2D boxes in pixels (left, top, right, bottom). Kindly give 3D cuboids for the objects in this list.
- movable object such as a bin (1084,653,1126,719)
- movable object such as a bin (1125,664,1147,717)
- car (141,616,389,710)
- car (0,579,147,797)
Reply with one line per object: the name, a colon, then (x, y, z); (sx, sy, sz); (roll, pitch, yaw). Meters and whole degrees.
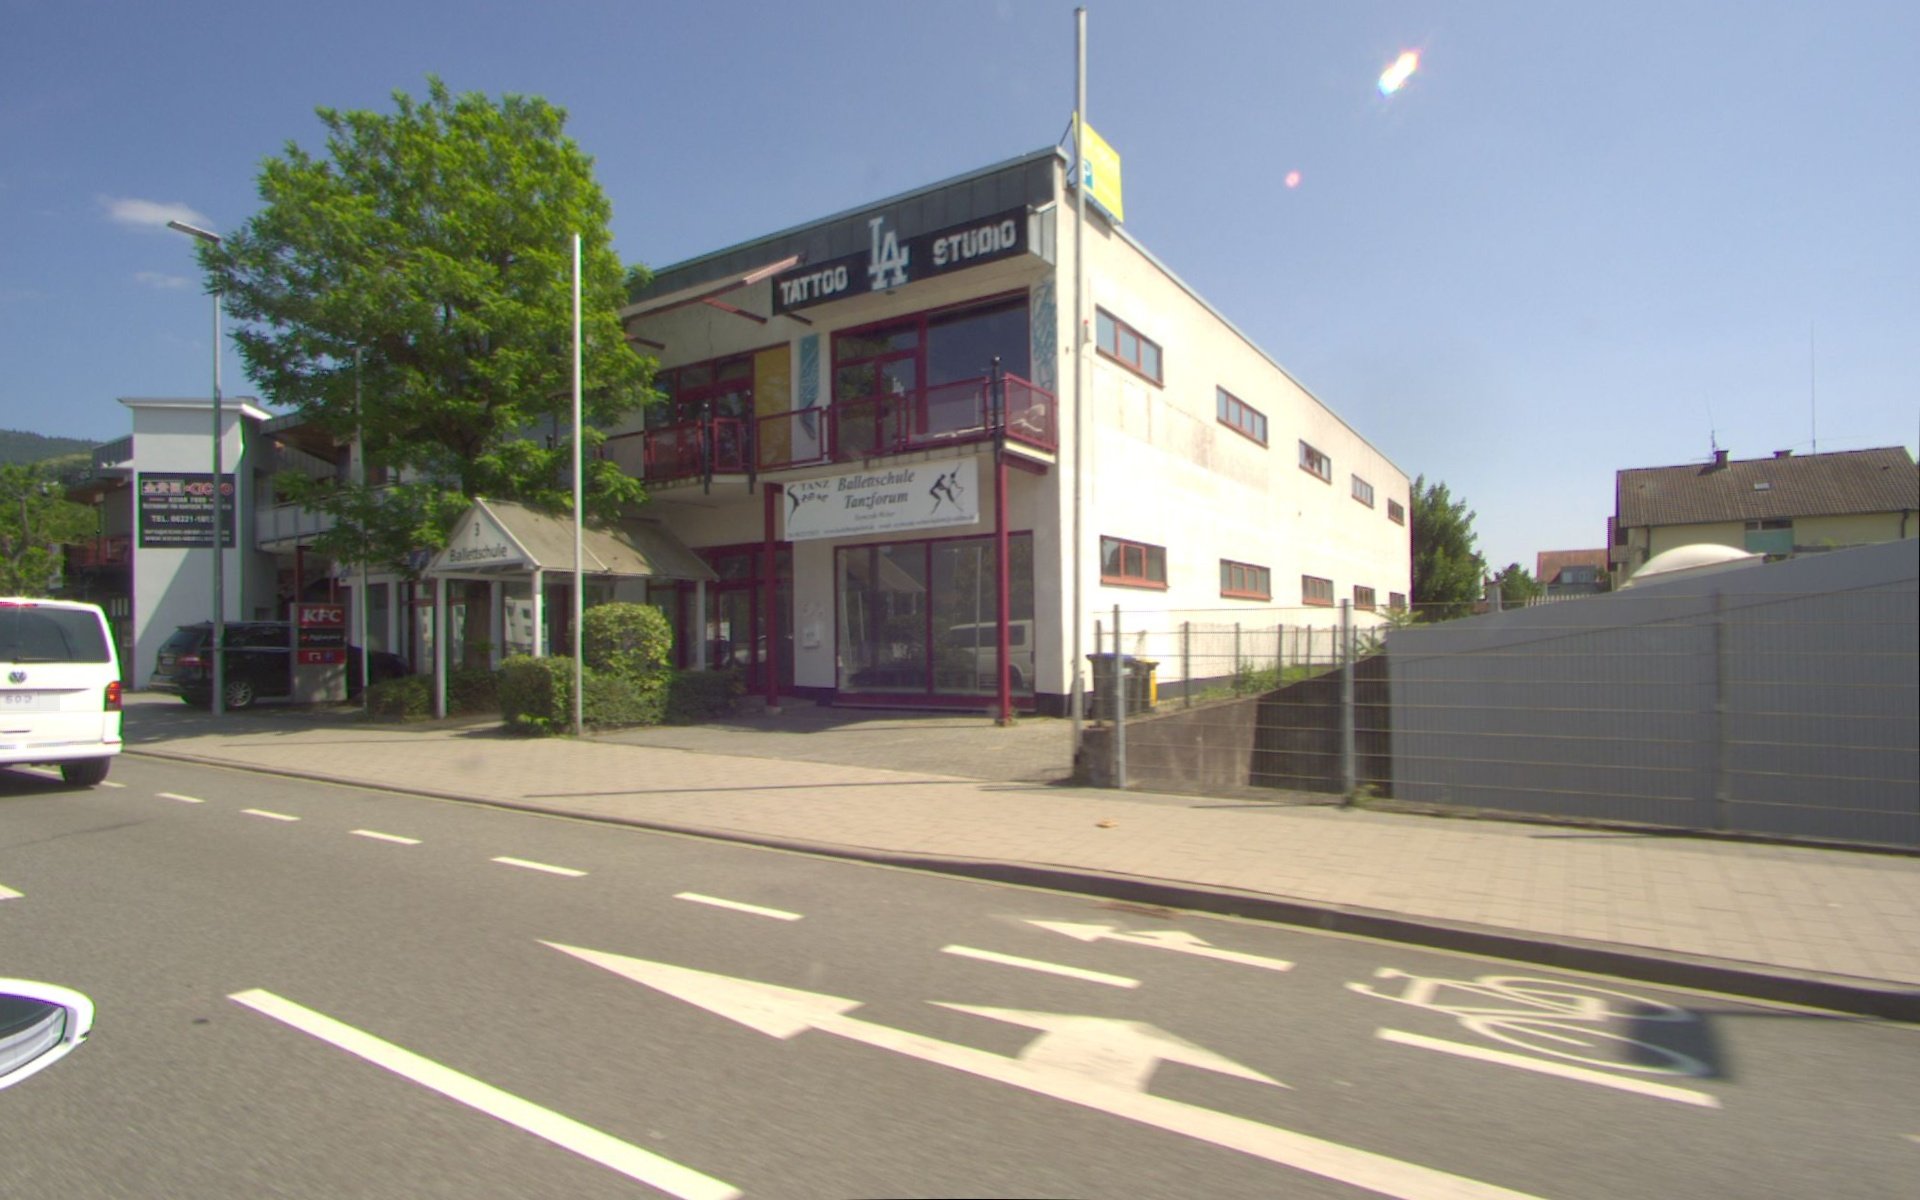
movable object such as a bin: (2.332, 1.380, 16.128); (0.537, 1.025, 0.411); (-1, -1, 35)
movable object such as a bin: (2.949, 1.508, 16.760); (0.271, 0.865, 0.266); (-1, 0, 35)
car: (-14.673, 1.262, 21.315); (1.976, 1.798, 3.971); (-1, -1, 39)
car: (-11.013, 0.878, 10.961); (4.480, 2.085, 1.932); (-1, -3, 33)
